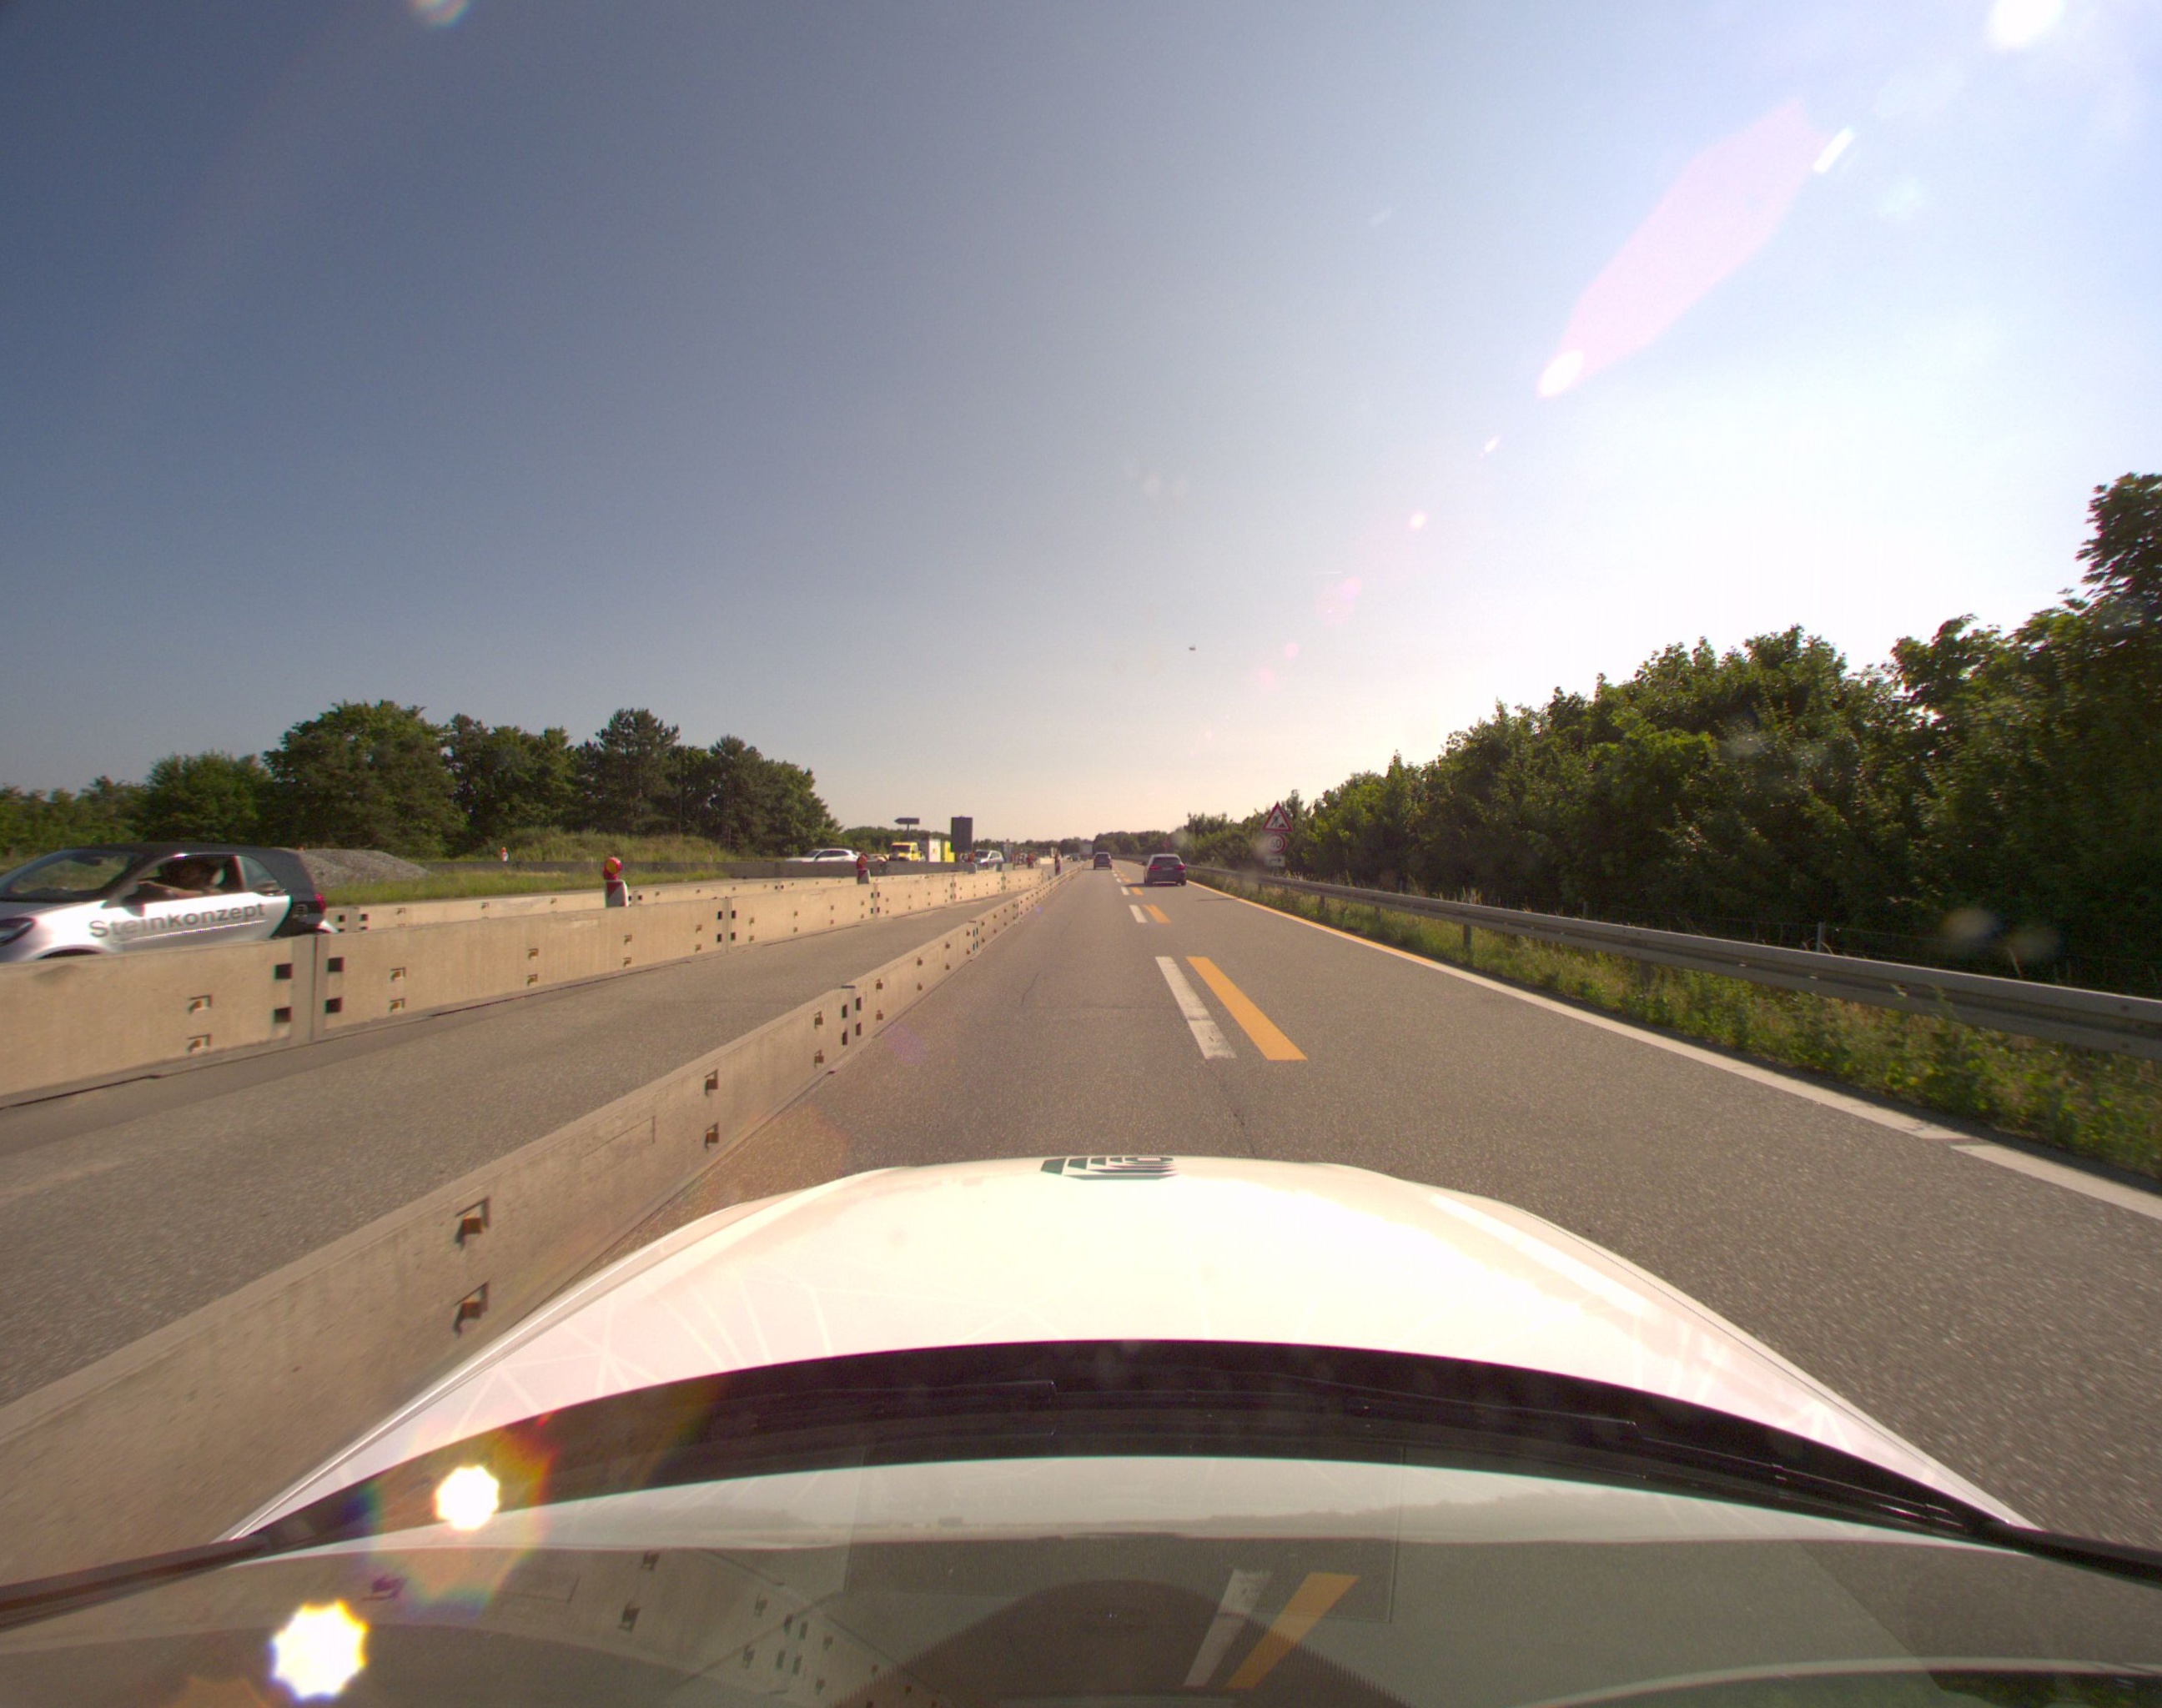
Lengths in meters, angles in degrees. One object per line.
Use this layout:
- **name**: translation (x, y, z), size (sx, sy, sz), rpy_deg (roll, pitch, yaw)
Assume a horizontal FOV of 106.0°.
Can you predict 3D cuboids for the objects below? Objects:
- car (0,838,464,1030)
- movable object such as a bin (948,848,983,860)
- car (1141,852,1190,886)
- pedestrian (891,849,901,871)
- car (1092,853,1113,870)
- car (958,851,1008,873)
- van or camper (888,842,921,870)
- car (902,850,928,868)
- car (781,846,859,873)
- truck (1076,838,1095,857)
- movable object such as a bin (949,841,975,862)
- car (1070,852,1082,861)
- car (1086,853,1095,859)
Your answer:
- **car**: translation (-9.103, 0.621, 8.553), size (1.702, 1.515, 4.187), rpy_deg (0, 0, 8)
- **movable object such as a bin**: translation (-19.578, -0.023, 138.240), size (5.348, 2.116, 2.249), rpy_deg (0, 0, 20)
- **car**: translation (3.936, 0.672, 38.510), size (1.914, 1.494, 4.000), rpy_deg (1, 0, 0)
- **pedestrian**: translation (-15.147, 0.480, 66.608), size (0.741, 1.820, 0.794), rpy_deg (0, 0, -10)
- **car**: translation (2.080, 0.660, 78.386), size (1.986, 1.567, 4.002), rpy_deg (-1, 0, 2)
- **car**: translation (-7.519, 0.589, 63.044), size (1.977, 1.622, 4.871), rpy_deg (0, 0, 18)
- **van or camper**: translation (-15.896, 0.188, 73.516), size (1.990, 2.378, 6.192), rpy_deg (0, 0, -4)
- **car**: translation (-16.137, 0.489, 79.154), size (1.682, 1.685, 4.456), rpy_deg (1, 0, -1)
- **car**: translation (-15.782, 0.338, 49.354), size (1.936, 1.554, 4.024), rpy_deg (1, 0, 44)
- **truck**: translation (1.064, -1.777, 216.379), size (3.755, 4.911, 14.113), rpy_deg (1, 0, -5)
- **movable object such as a bin**: translation (-15.089, -0.322, 103.604), size (2.021, 2.715, 5.117), rpy_deg (0, 0, 6)
- **car**: translation (-0.907, 0.399, 143.777), size (1.852, 1.473, 4.687), rpy_deg (1, 0, 2)
- **car**: translation (2.870, 0.578, 245.977), size (1.991, 1.688, 3.992), rpy_deg (0, 0, -6)
